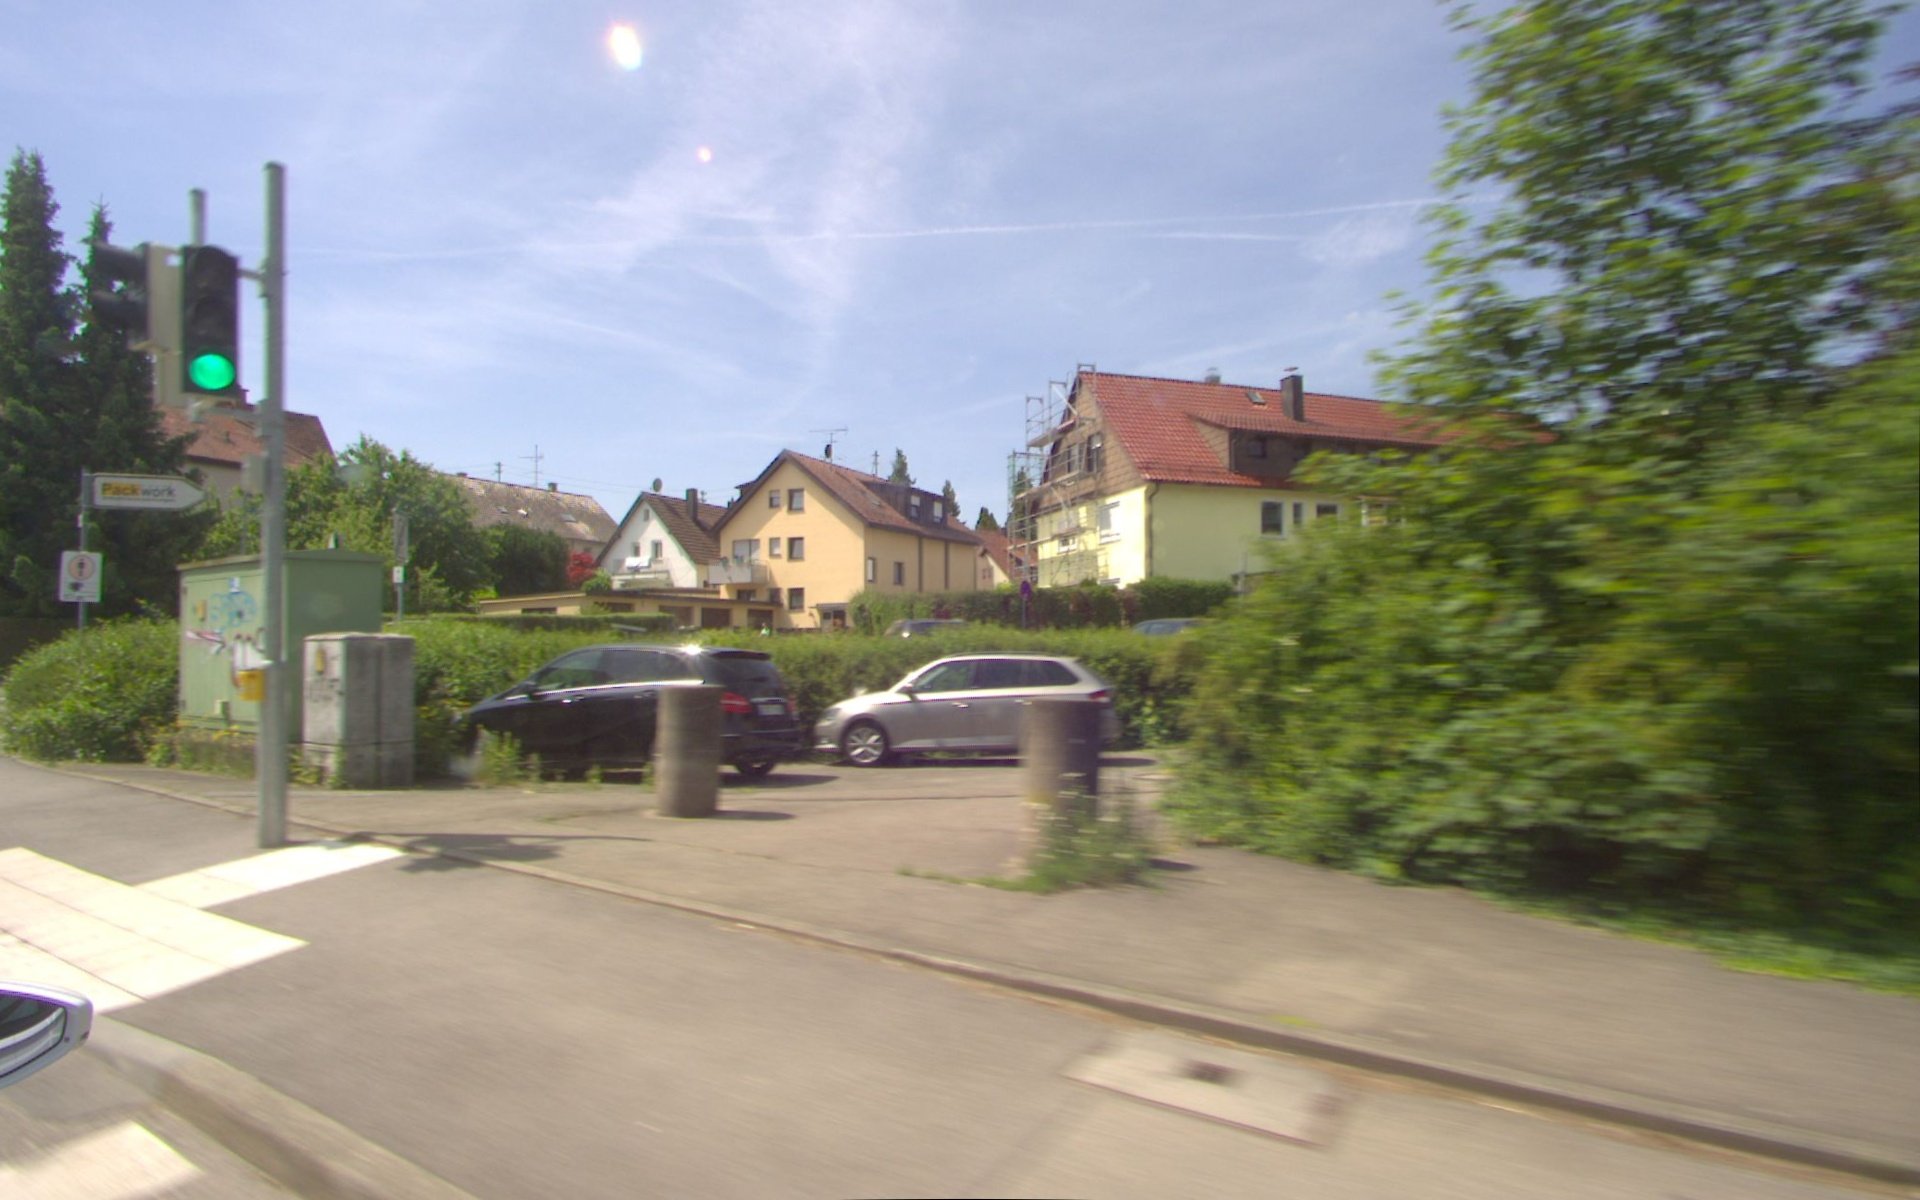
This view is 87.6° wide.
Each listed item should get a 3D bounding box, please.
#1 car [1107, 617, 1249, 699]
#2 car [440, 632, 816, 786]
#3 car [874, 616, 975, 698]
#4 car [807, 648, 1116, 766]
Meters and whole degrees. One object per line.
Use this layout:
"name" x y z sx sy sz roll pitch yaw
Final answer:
"car" 4.330 1.112 20.353 1.392 1.504 3.428 0 -1 -16
"car" -3.874 1.281 11.768 3.995 1.569 1.714 -3 -5 20
"car" -0.796 1.044 19.557 1.374 1.416 4.283 1 -2 -10
"car" 0.076 1.460 13.733 4.007 1.484 1.626 -1 -4 8
